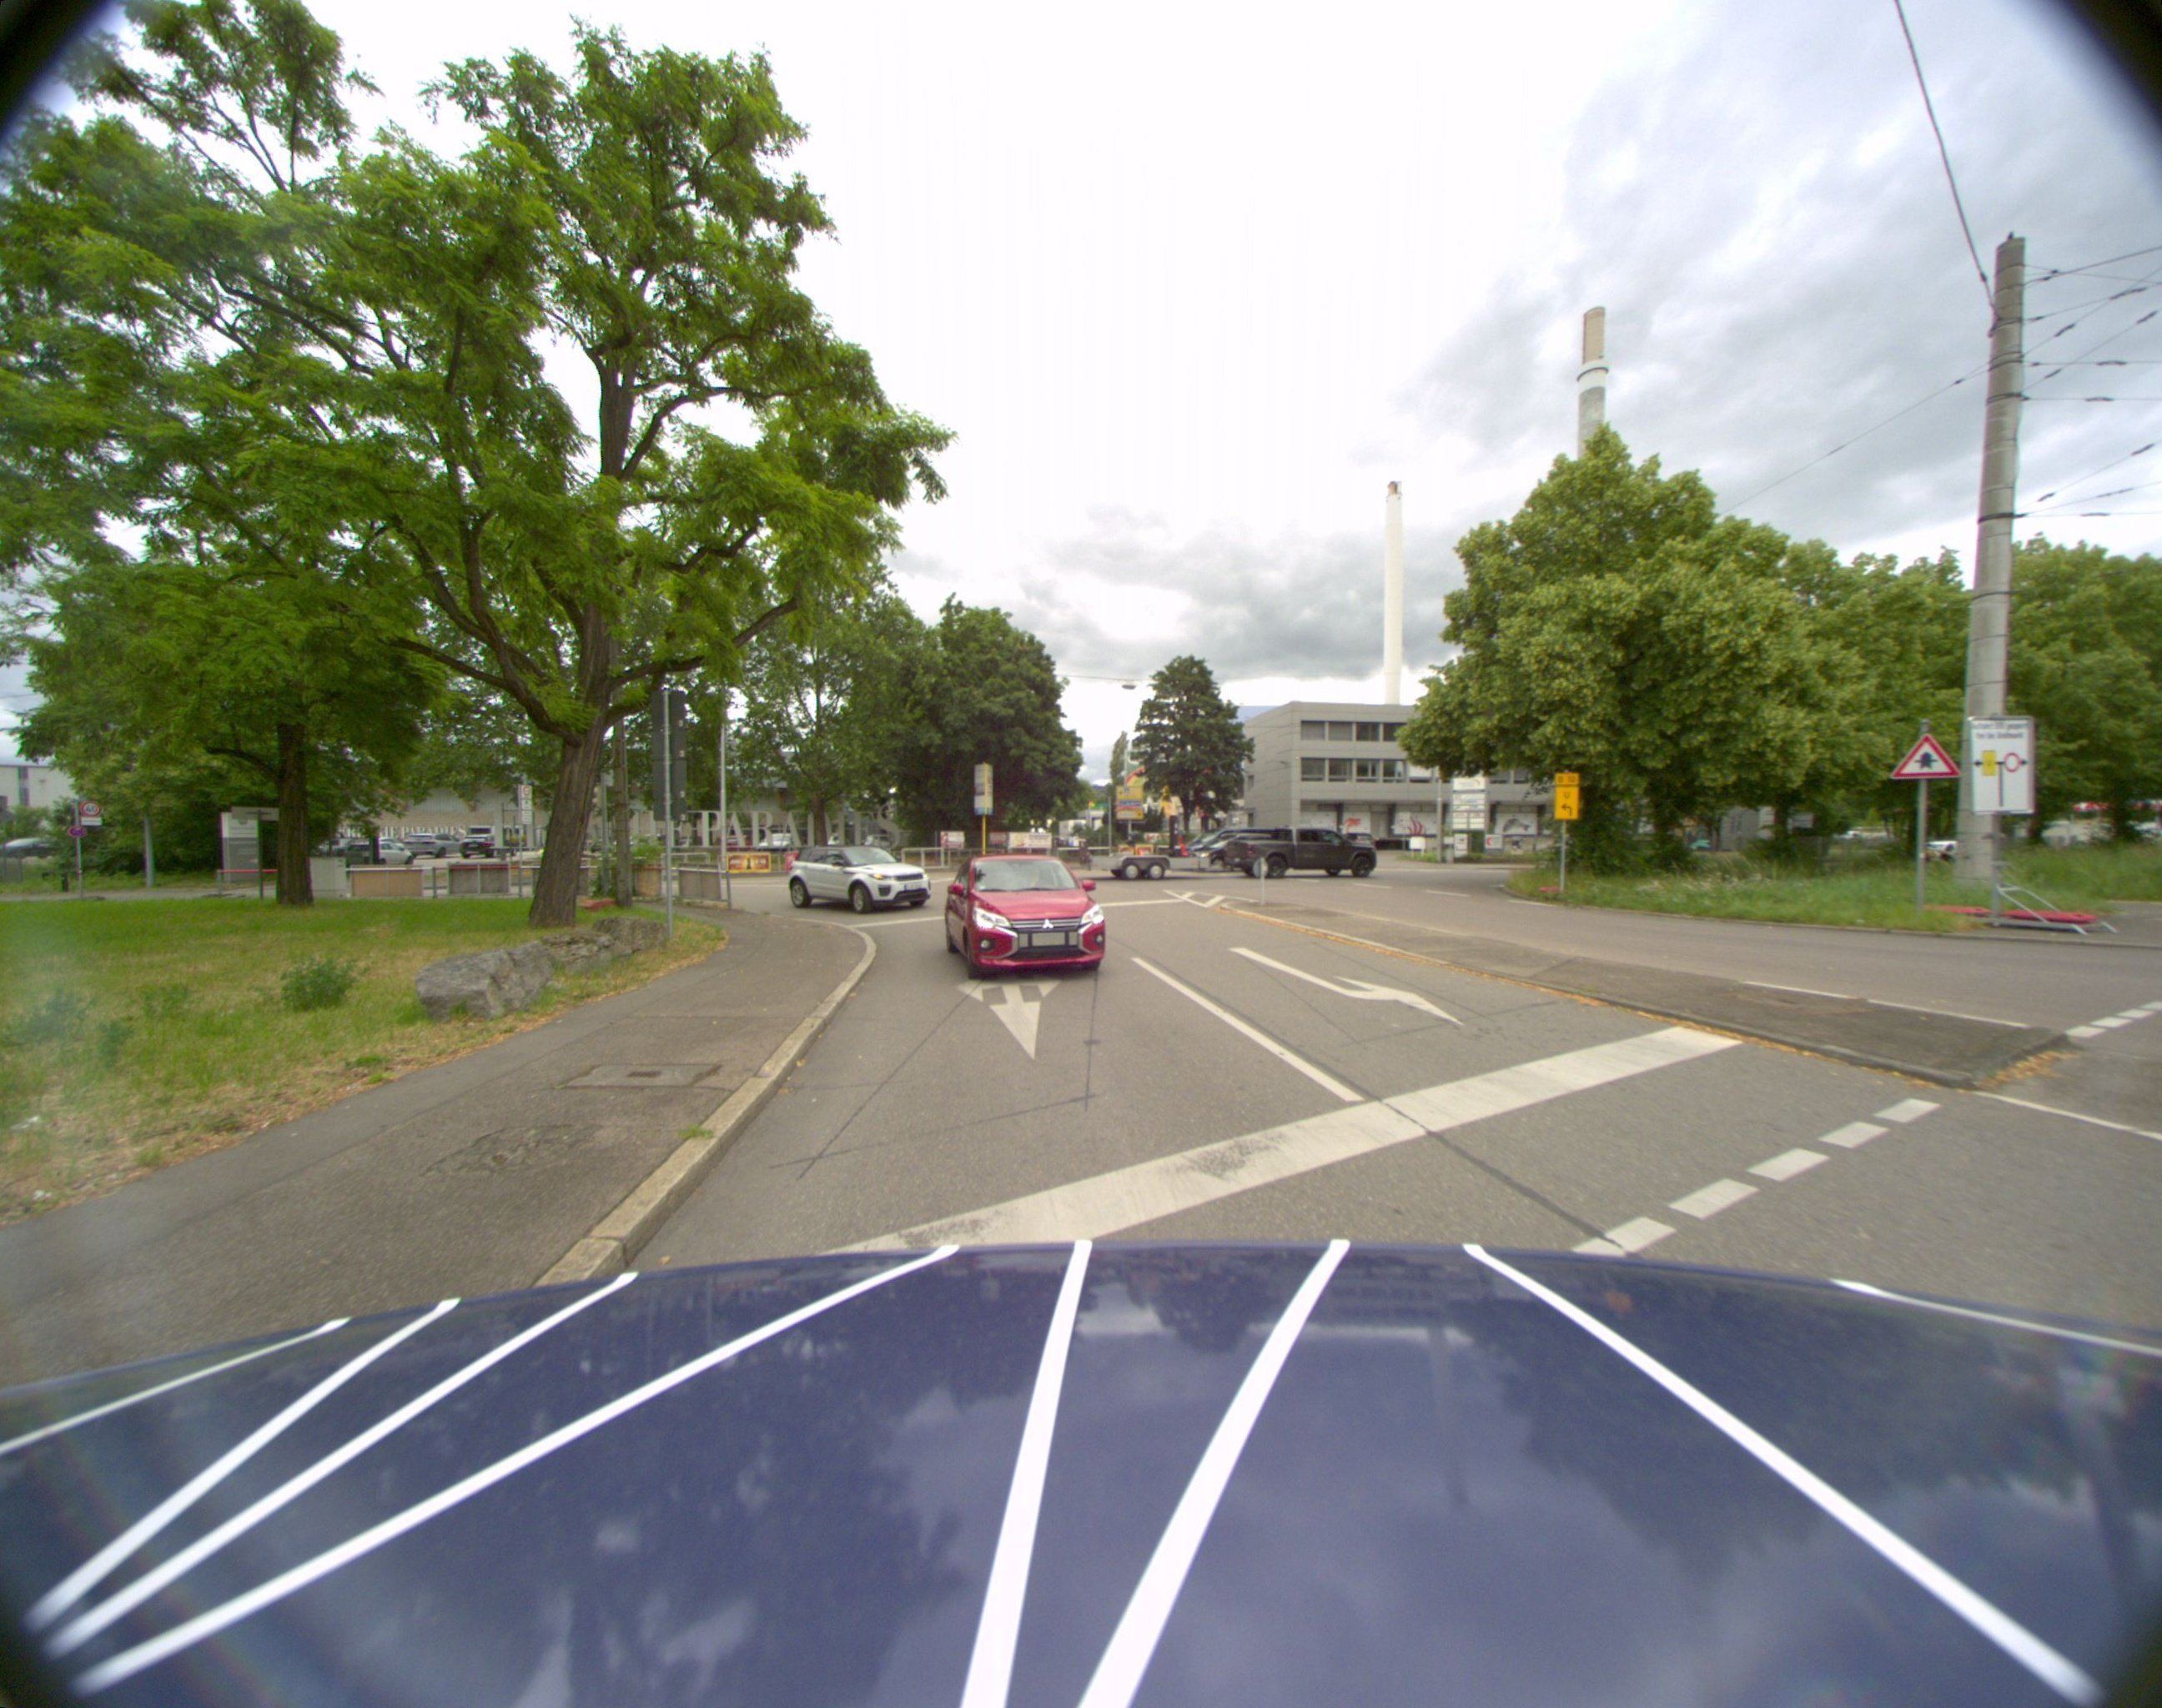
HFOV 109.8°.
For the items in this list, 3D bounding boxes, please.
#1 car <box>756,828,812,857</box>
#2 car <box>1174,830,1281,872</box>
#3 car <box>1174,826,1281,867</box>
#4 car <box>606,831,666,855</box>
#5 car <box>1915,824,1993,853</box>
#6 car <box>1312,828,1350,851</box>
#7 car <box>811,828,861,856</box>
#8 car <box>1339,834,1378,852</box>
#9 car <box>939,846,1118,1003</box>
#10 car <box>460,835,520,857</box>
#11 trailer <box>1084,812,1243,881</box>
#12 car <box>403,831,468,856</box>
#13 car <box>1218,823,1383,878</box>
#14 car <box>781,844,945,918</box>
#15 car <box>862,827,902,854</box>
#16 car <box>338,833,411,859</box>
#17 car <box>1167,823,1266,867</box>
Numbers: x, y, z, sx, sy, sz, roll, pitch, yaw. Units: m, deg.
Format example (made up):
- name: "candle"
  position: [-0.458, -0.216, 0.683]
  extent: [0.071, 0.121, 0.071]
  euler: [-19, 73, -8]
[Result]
- name: "car"
  position: [-18.287, -0.749, 47.023]
  extent: [1.999, 1.450, 4.694]
  euler: [-4, 4, -6]
- name: "car"
  position: [6.349, -0.169, 32.933]
  extent: [4.235, 1.762, 1.829]
  euler: [-1, 2, -24]
- name: "car"
  position: [7.119, -0.391, 37.005]
  extent: [4.806, 1.934, 1.830]
  euler: [-1, 2, -16]
- name: "car"
  position: [-32.403, -0.849, 55.540]
  extent: [1.938, 1.423, 5.244]
  euler: [-4, 4, -10]
- name: "car"
  position: [59.891, -1.111, 52.110]
  extent: [4.768, 1.654, 1.995]
  euler: [-5, 4, -21]
- name: "car"
  position: [20.409, -1.218, 62.164]
  extent: [1.777, 1.670, 3.569]
  euler: [-3, 4, -3]
- name: "car"
  position: [-15.148, -0.786, 47.241]
  extent: [1.999, 1.450, 4.694]
  euler: [-4, 4, -6]
- name: "car"
  position: [22.884, -0.919, 62.806]
  extent: [1.777, 1.172, 3.569]
  euler: [-3, 4, -3]
- name: "car"
  position: [-0.883, 0.744, 10.199]
  extent: [1.769, 1.522, 3.734]
  euler: [-2, 3, -13]
- name: "car"
  position: [-41.245, -0.605, 53.146]
  extent: [1.918, 1.499, 3.993]
  euler: [0, 2, -15]
- name: "trailer"
  position: [2.977, -0.306, 27.843]
  extent: [5.391, 2.374, 2.147]
  euler: [-1, 2, -15]
- name: "car"
  position: [-44.547, -0.737, 52.542]
  extent: [1.918, 1.691, 3.993]
  euler: [0, 2, -15]
- name: "car"
  position: [8.394, -0.178, 29.193]
  extent: [5.873, 1.969, 1.947]
  euler: [0, 4, -13]
- name: "car"
  position: [-5.640, 0.623, 19.468]
  extent: [4.101, 1.561, 1.920]
  euler: [0, 5, 39]
- name: "car"
  position: [-12.548, -0.914, 48.166]
  extent: [2.000, 1.450, 4.693]
  euler: [-4, 4, -11]
- name: "car"
  position: [-47.502, -0.591, 51.189]
  extent: [1.918, 1.691, 3.993]
  euler: [0, 2, -15]
- name: "car"
  position: [6.526, -0.474, 36.784]
  extent: [4.241, 2.003, 1.996]
  euler: [-1, 3, -16]
